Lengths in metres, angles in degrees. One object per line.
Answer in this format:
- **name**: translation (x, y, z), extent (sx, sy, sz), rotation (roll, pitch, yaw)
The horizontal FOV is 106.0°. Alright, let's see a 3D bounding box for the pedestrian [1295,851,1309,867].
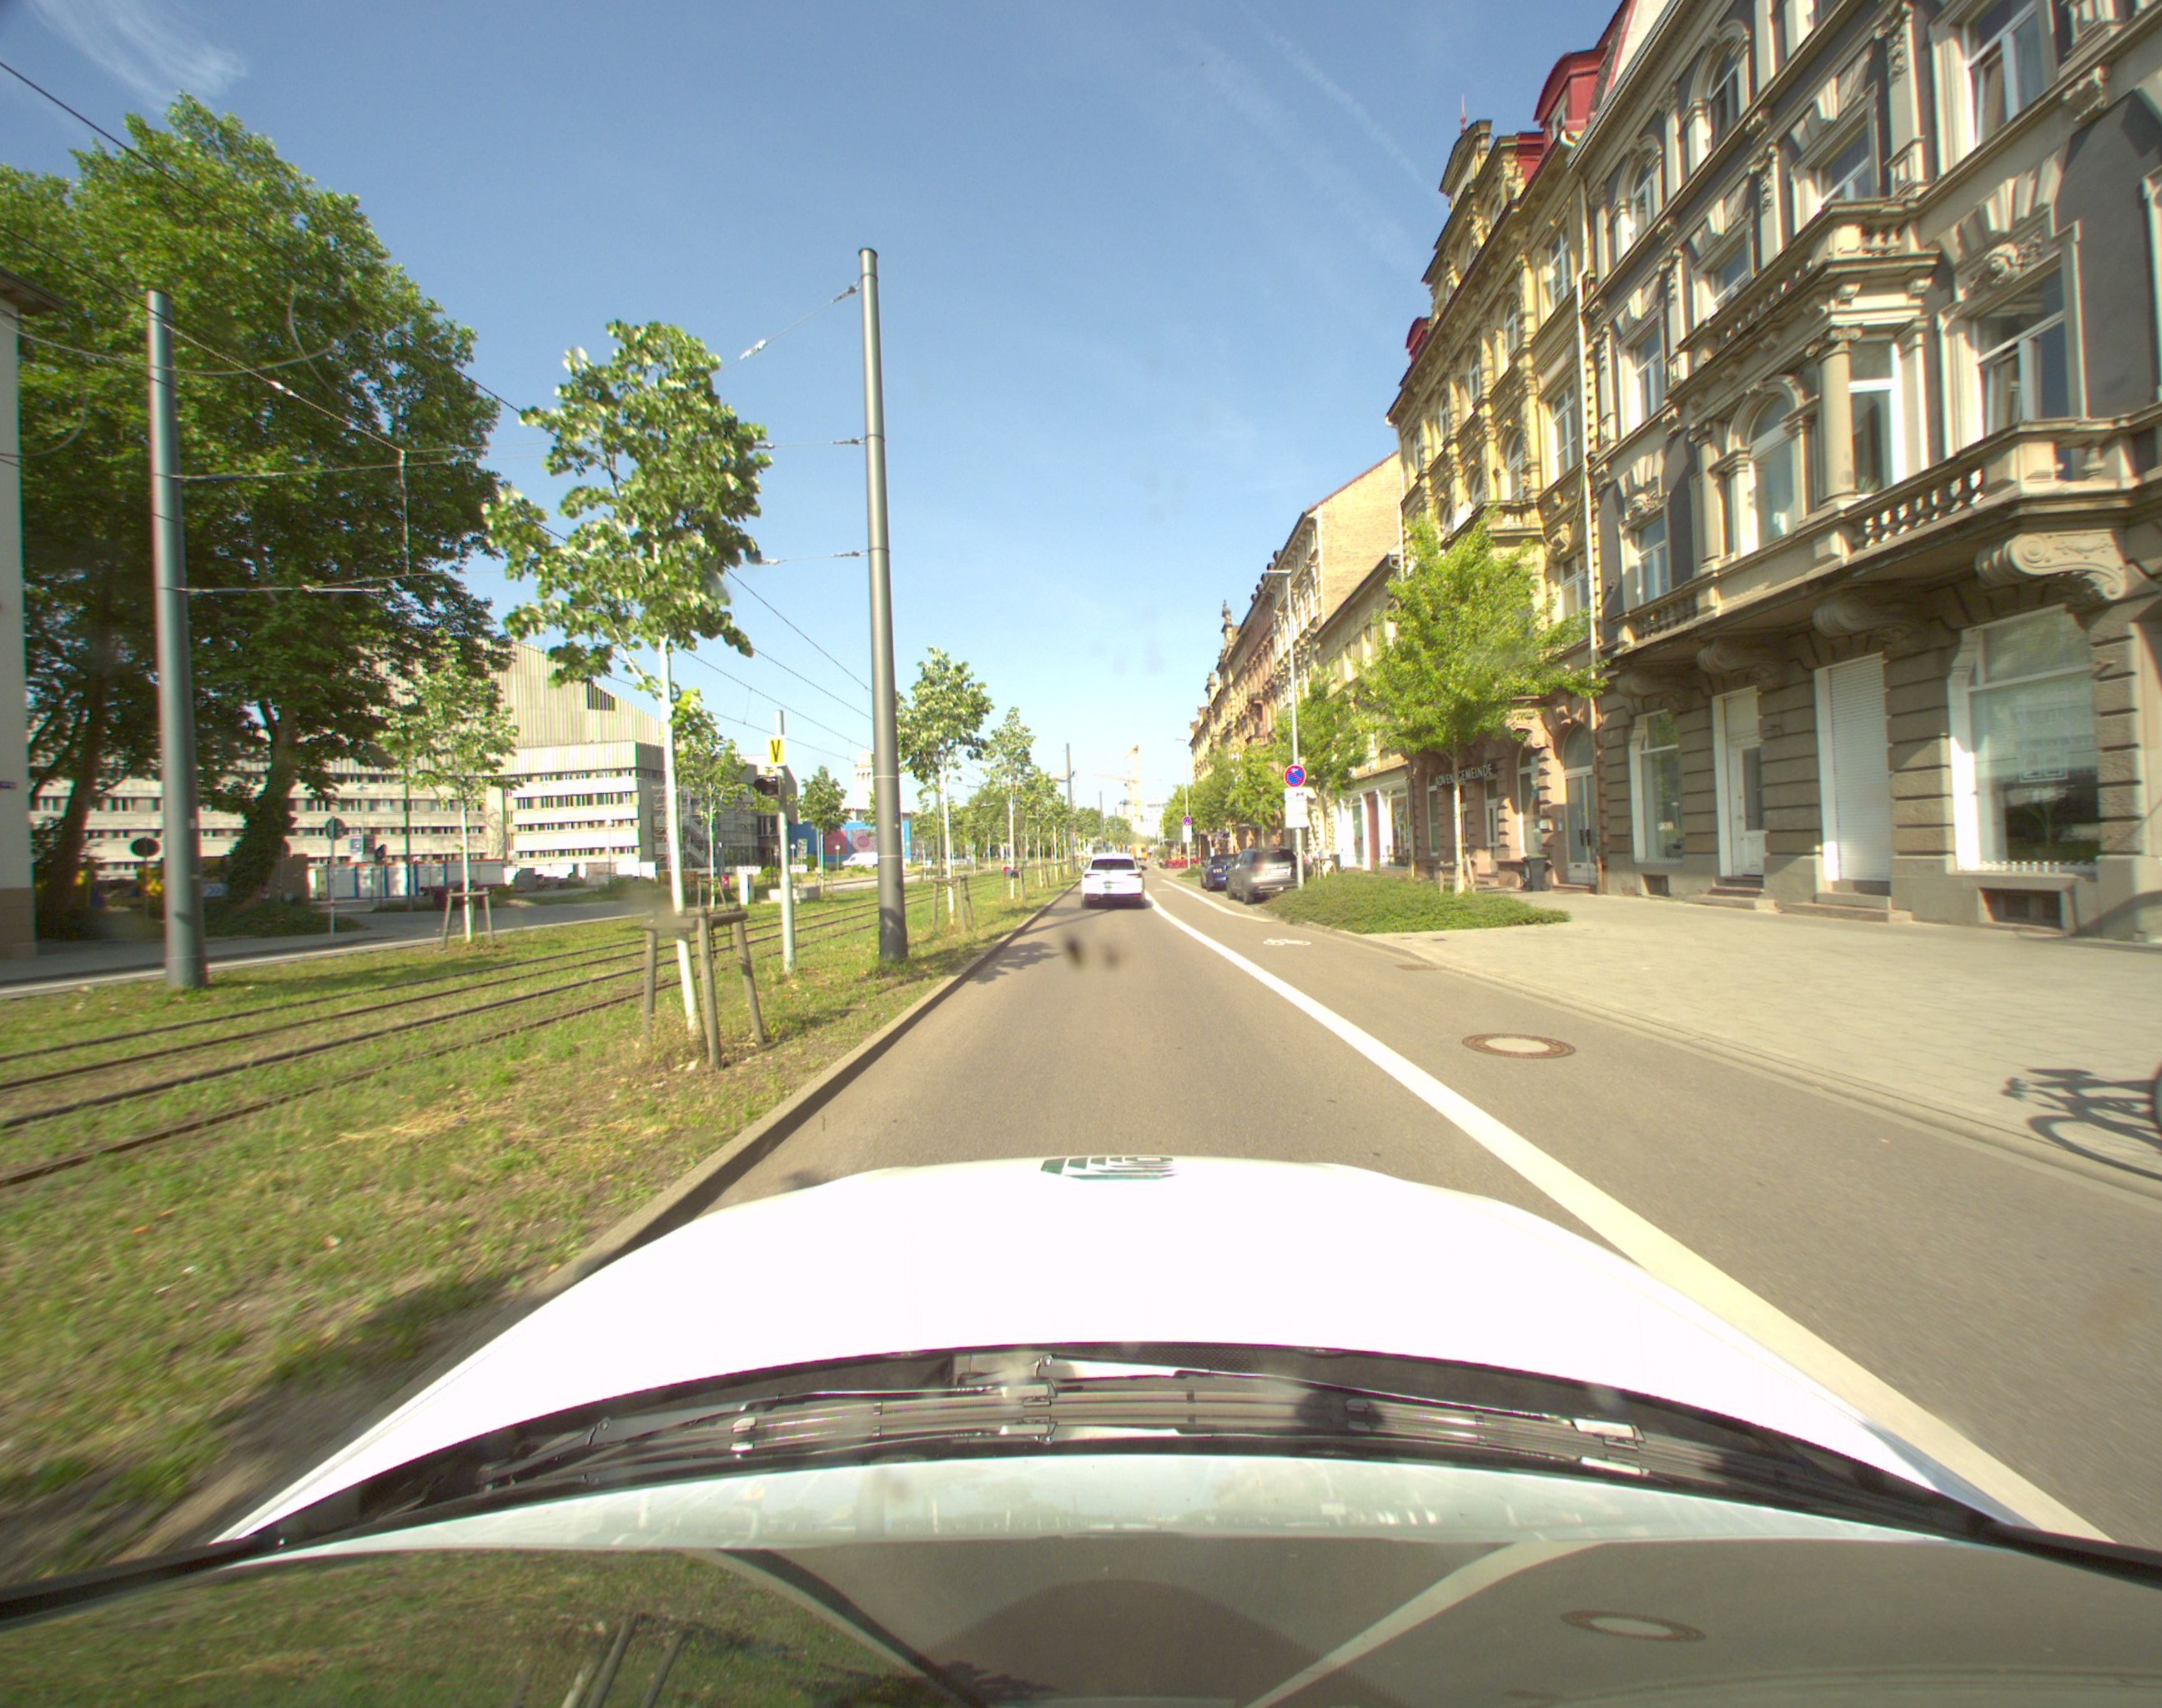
- **pedestrian**: translation (12.477, 0.273, 45.935), extent (0.569, 0.855, 0.457), rotation (-5, 0, -4)

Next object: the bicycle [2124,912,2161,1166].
- **bicycle**: translation (5.404, 0.725, 3.309), extent (1.778, 1.054, 0.373), rotation (-4, 0, 0)

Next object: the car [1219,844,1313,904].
- **car**: translation (5.556, 0.547, 25.023), extent (1.764, 1.588, 4.246), rotation (-4, 0, -1)

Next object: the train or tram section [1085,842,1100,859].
- **train or tram section**: translation (2.508, -0.692, 177.283), extent (2.887, 3.586, 12.483), rotation (-3, 0, 2)

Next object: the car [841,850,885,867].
- **car**: translation (-35.816, 0.754, 133.914), extent (6.895, 2.638, 2.498), rotation (0, -1, -19)

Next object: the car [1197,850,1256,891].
- **car**: translation (5.735, 0.605, 32.492), extent (1.729, 1.396, 4.719), rotation (-4, 0, 4)

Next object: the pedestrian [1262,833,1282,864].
- **pedestrian**: translation (11.048, -0.320, 47.096), extent (0.821, 1.696, 0.792), rotation (-4, 0, -2)

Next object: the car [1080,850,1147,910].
- **car**: translation (0.987, 0.716, 24.644), extent (1.810, 1.590, 4.409), rotation (-2, 0, 2)

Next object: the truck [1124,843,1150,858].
- **truck**: translation (9.214, -0.589, 134.031), extent (2.219, 2.318, 5.854), rotation (-2, 0, -18)

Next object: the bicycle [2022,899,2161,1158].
- **bicycle**: translation (5.424, 0.727, 3.708), extent (1.778, 1.054, 0.373), rotation (-4, 0, 0)

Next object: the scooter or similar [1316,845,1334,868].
- **scooter or similar**: translation (12.574, 0.120, 41.968), extent (0.604, 1.125, 0.932), rotation (-2, 0, 2)

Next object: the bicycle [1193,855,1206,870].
- **bicycle**: translation (9.311, 0.666, 63.923), extent (0.594, 1.122, 1.923), rotation (-2, 0, -4)

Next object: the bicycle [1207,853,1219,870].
- **bicycle**: translation (9.079, 0.510, 55.960), extent (0.501, 1.060, 1.721), rotation (-4, 0, 17)

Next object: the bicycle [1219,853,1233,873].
- **bicycle**: translation (8.210, 0.485, 46.157), extent (0.490, 1.093, 1.828), rotation (-2, 0, 3)

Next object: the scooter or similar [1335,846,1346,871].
- **scooter or similar**: translation (12.177, 0.218, 38.197), extent (0.287, 1.134, 1.091), rotation (-2, 0, 8)

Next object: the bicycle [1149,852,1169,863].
- **bicycle**: translation (9.264, 0.417, 97.063), extent (2.229, 1.104, 0.589), rotation (-4, 0, 3)

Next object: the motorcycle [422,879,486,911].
- **motorcycle**: translation (-29.758, 1.915, 38.707), extent (2.307, 1.369, 0.809), rotation (-2, 0, -35)

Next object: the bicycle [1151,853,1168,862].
- **bicycle**: translation (9.454, 0.446, 98.369), extent (1.926, 0.986, 0.471), rotation (-4, 0, 3)

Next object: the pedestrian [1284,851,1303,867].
- **pedestrian**: translation (12.464, 0.286, 47.730), extent (0.875, 0.876, 0.711), rotation (-4, 0, -1)

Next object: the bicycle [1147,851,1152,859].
- **bicycle**: translation (13.110, 0.217, 156.147), extent (0.778, 1.496, 2.803), rotation (-2, 0, 4)

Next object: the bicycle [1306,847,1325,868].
- **bicycle**: translation (12.462, 0.196, 43.298), extent (0.450, 1.083, 1.445), rotation (-2, 0, -7)
